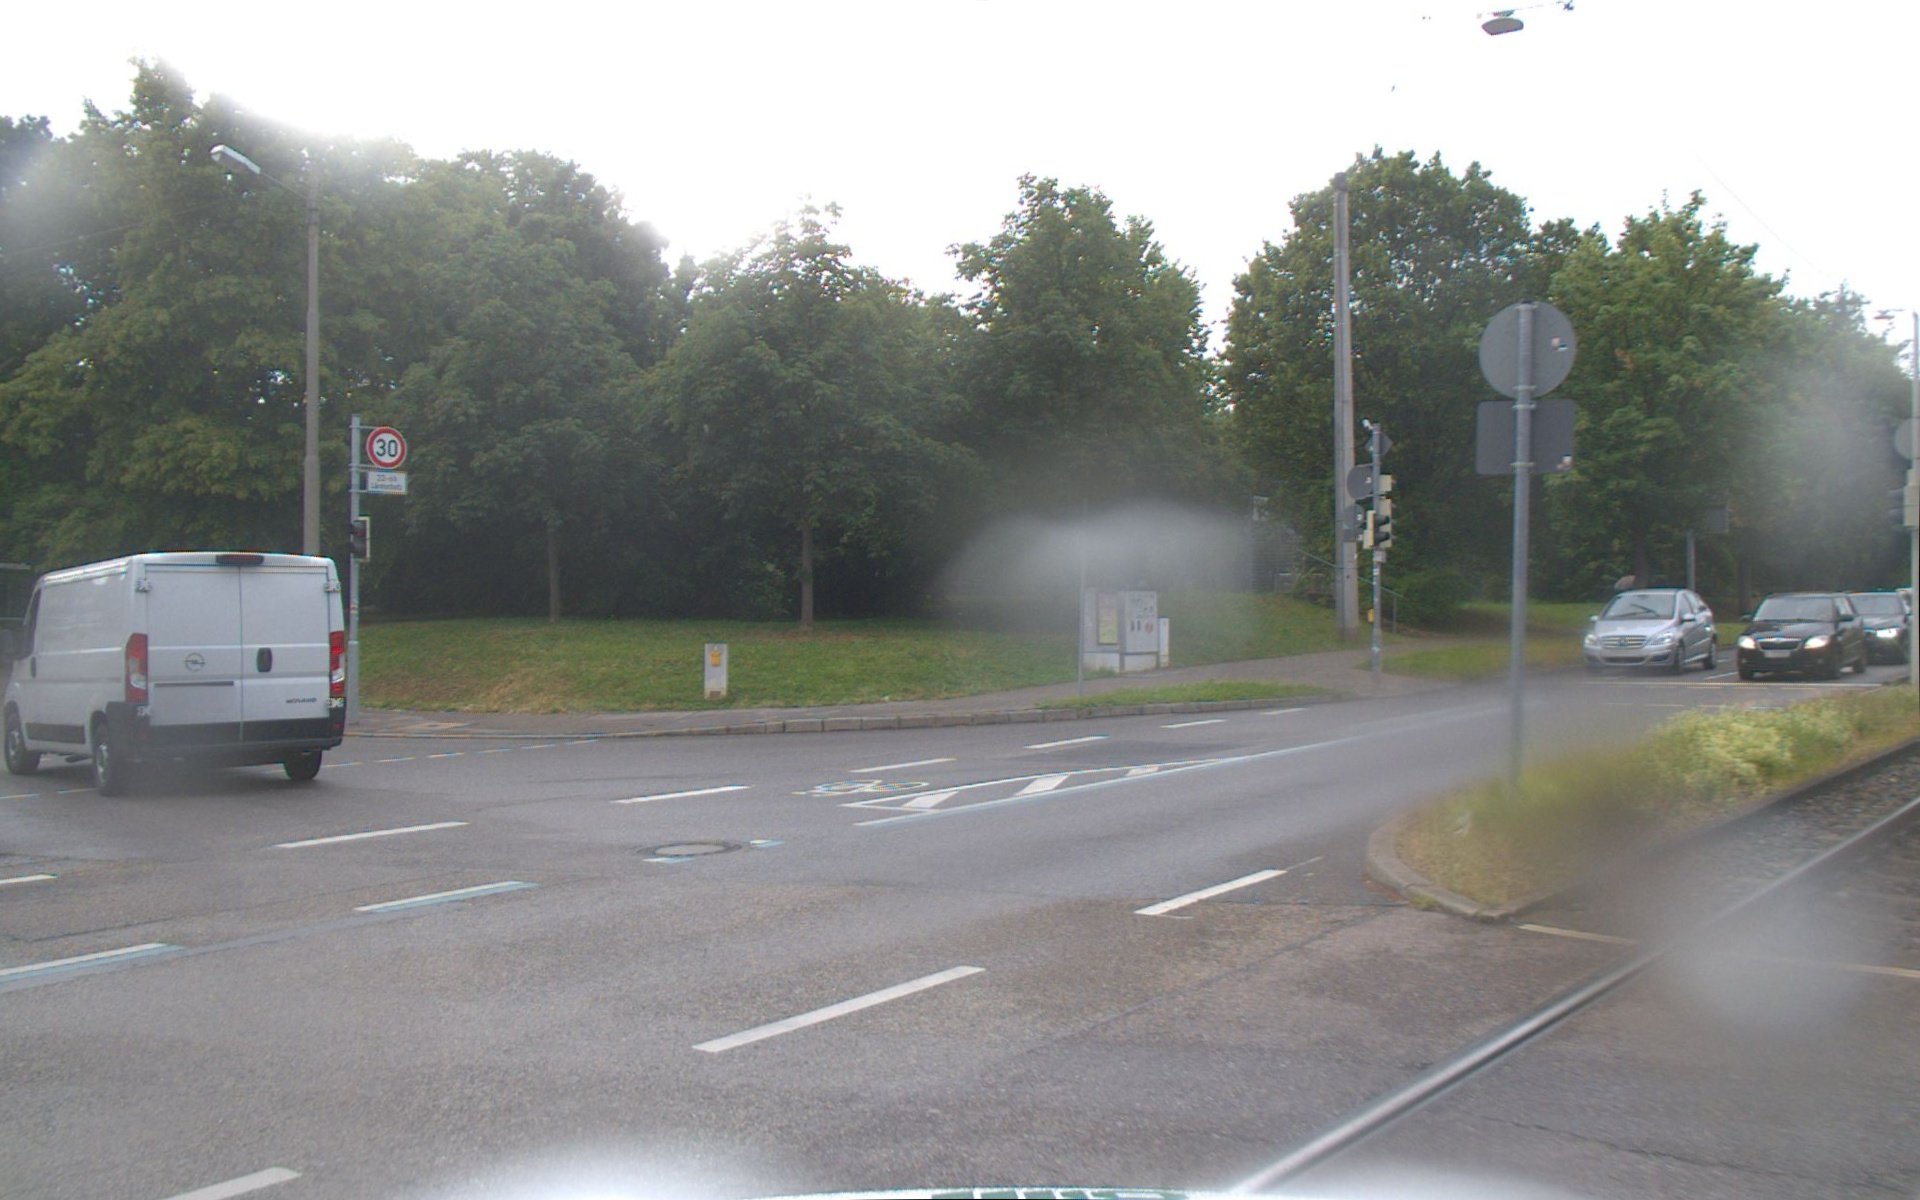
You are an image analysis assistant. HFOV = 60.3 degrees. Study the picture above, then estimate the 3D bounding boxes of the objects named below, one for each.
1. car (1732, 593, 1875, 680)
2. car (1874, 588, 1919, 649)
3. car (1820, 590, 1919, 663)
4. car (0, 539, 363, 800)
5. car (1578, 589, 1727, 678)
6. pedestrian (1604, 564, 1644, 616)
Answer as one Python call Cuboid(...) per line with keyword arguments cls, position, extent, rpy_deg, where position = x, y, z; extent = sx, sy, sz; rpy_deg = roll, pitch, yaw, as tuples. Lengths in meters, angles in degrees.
Cuboid(cls="car", position=(15.150, 0.618, 29.620), extent=(1.575, 1.426, 3.774), rpy_deg=(-1, 0, 38))
Cuboid(cls="car", position=(24.128, 0.438, 41.433), extent=(1.576, 1.426, 3.774), rpy_deg=(1, 1, 38))
Cuboid(cls="car", position=(19.242, 0.521, 34.582), extent=(1.575, 1.426, 3.774), rpy_deg=(-1, 0, 38))
Cuboid(cls="car", position=(-8.291, 0.611, 17.278), extent=(2.135, 2.323, 4.985), rpy_deg=(-1, 1, -42))
Cuboid(cls="car", position=(13.725, 0.638, 32.655), extent=(1.692, 1.581, 3.845), rpy_deg=(-4, -2, 38))
Cuboid(cls="pedestrian", position=(21.326, -0.321, 53.137), extent=(0.995, 1.629, 1.037), rpy_deg=(-1, 0, 34))
